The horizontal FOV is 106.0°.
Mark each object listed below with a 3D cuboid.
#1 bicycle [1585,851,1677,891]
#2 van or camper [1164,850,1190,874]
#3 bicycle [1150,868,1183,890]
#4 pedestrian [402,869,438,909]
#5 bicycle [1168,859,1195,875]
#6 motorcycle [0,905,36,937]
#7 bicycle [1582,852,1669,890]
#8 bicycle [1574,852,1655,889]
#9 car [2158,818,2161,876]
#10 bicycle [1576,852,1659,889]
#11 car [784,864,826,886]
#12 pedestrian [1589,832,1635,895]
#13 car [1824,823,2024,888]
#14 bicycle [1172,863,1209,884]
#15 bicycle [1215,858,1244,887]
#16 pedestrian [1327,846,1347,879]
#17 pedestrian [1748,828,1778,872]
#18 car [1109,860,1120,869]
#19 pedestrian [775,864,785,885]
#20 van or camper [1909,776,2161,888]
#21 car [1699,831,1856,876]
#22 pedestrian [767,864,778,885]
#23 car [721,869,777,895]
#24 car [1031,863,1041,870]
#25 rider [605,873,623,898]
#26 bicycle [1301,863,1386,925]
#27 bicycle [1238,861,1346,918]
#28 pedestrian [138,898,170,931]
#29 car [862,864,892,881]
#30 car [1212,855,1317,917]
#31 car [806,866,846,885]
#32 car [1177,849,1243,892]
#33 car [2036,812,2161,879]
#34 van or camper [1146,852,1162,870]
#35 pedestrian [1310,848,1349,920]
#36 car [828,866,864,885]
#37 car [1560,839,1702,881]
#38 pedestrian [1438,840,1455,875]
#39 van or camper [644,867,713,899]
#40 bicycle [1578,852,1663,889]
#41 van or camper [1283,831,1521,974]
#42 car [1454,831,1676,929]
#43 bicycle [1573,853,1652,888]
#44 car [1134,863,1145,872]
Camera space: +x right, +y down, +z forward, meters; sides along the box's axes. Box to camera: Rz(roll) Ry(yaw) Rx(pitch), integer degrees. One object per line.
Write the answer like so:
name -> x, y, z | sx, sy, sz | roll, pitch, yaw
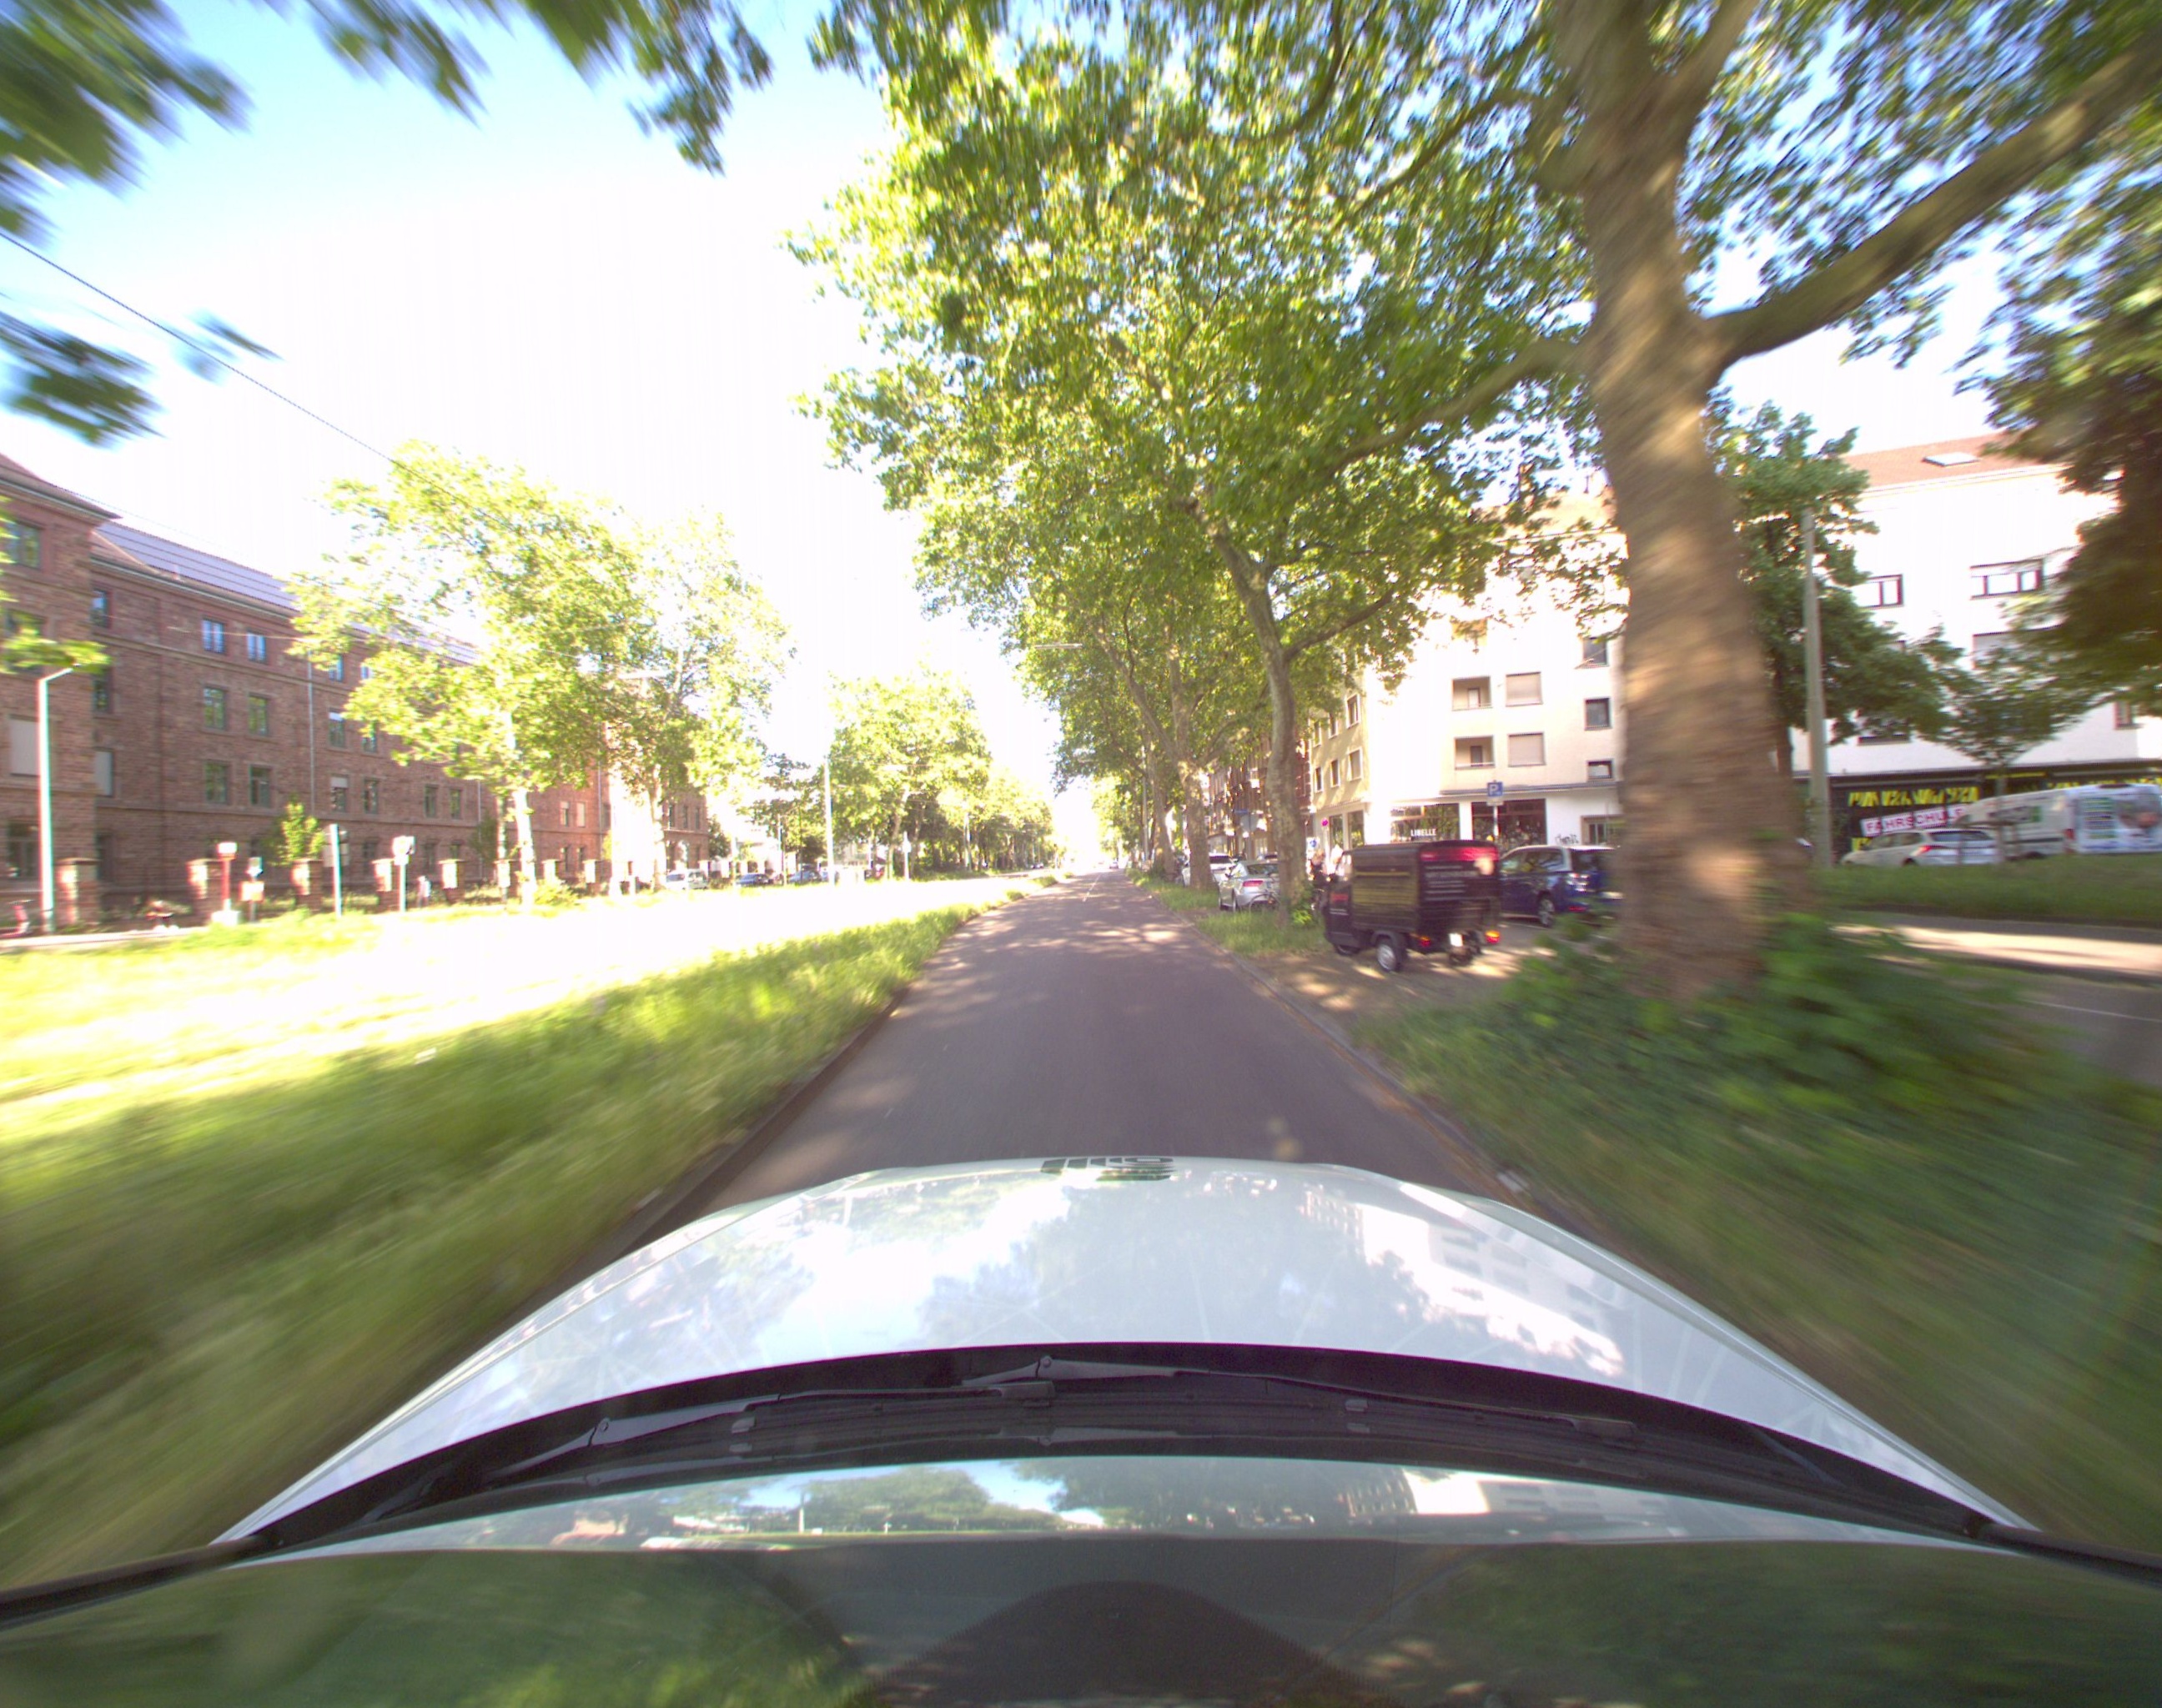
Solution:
bicycle -> 16.159, 0.506, 23.977 | 2.169, 1.103, 0.511 | -2, -1, 26
van or camper -> 8.695, 0.745, 74.211 | 1.827, 2.098, 4.774 | 1, -1, 0
bicycle -> 4.303, 1.238, 40.828 | 1.584, 1.058, 0.405 | -2, -1, 8
pedestrian -> -31.894, 1.672, 39.330 | 0.897, 1.899, 0.942 | -2, 0, 3
bicycle -> 8.433, 1.104, 68.236 | 2.156, 1.294, 0.983 | -1, -1, 2
motorcycle -> -33.067, 2.069, 25.128 | 0.333, 0.946, 1.044 | -2, -1, -2
bicycle -> 16.390, 0.517, 24.574 | 2.119, 1.103, 0.511 | -2, -1, 26
bicycle -> 17.174, 0.537, 26.262 | 2.119, 1.103, 0.511 | -2, -1, 26
car -> 31.436, -0.222, 20.980 | 1.978, 1.669, 4.766 | -2, -1, 16
bicycle -> 16.923, 0.534, 25.755 | 2.119, 1.103, 0.511 | -2, -1, 26
car -> -24.052, 1.784, 71.127 | 1.759, 1.719, 4.427 | -2, 0, 6
pedestrian -> 14.364, 0.246, 22.047 | 0.675, 1.651, 0.907 | -2, -1, 9
car -> 23.588, 0.051, 23.066 | 1.978, 1.628, 4.409 | -2, -1, 16
bicycle -> 5.165, 0.924, 38.337 | 1.773, 0.928, 0.646 | -1, -1, -40
bicycle -> 5.154, 0.629, 28.330 | 0.636, 0.925, 2.165 | -2, -1, 2
pedestrian -> 13.659, 0.433, 43.438 | 0.792, 1.704, 0.724 | -2, -1, 2
pedestrian -> 28.908, -0.172, 34.527 | 0.716, 1.809, 0.692 | -2, -1, 16
car -> 6.284, 2.014, 154.829 | 2.014, 1.662, 4.001 | -2, -1, 1
pedestrian -> -29.512, 1.973, 79.859 | 0.712, 2.014, 0.626 | -2, -1, 2
van or camper -> 26.029, -0.520, 22.383 | 2.130, 2.636, 5.613 | -2, -1, 17
car -> 27.906, 0.000, 32.820 | 4.347, 1.644, 2.009 | -2, 0, 17
pedestrian -> -30.282, 2.013, 79.881 | 0.712, 2.014, 0.626 | -2, -1, 2
car -> -24.570, 2.056, 60.473 | 1.986, 1.649, 4.830 | -2, 0, 2
car -> -10.765, 3.039, 194.333 | 1.788, 1.508, 4.341 | -4, -1, 3
rider -> -31.579, 2.135, 55.096 | 0.725, 1.644, 0.686 | -2, -1, 2
bicycle -> 4.908, 0.722, 15.353 | 0.757, 1.078, 1.882 | -1, -1, -8
bicycle -> 4.399, 0.735, 17.063 | 2.063, 1.124, 0.677 | -2, -1, 0
pedestrian -> -33.256, 2.165, 29.226 | 0.443, 1.100, 0.587 | -2, 0, -3
car -> -23.359, 2.117, 93.406 | 2.102, 1.809, 4.738 | -2, 0, 1
car -> 4.630, 0.758, 21.277 | 1.747, 1.398, 5.028 | -1, -1, 2
car -> -23.931, 1.988, 76.619 | 1.983, 1.615, 4.427 | -2, 0, 6
car -> 5.324, 0.656, 34.179 | 1.897, 1.636, 4.822 | -2, 0, -1
car -> 28.460, -0.240, 21.452 | 1.978, 1.669, 4.766 | -2, -1, 16
van or camper -> 10.023, 0.983, 111.893 | 2.174, 2.480, 6.275 | 0, -1, 5
pedestrian -> 5.712, 0.686, 18.766 | 0.685, 1.611, 0.713 | 1, 0, 2
car -> -23.643, 2.132, 82.191 | 2.101, 1.809, 4.739 | -2, 0, 1
car -> 23.092, 0.265, 34.402 | 4.550, 1.581, 2.009 | -2, 0, 17
pedestrian -> 17.780, 0.178, 39.624 | 0.587, 1.650, 0.727 | -2, -1, 13
van or camper -> -24.727, 1.751, 50.235 | 1.987, 1.788, 4.431 | -2, -1, 0
bicycle -> 16.677, 0.522, 25.239 | 2.119, 1.103, 0.511 | -2, -1, 26
van or camper -> 4.059, 0.560, 10.738 | 1.503, 1.588, 2.825 | -1, -1, -15
car -> 10.049, 0.507, 17.514 | 1.812, 1.742, 5.169 | -2, -1, 2
bicycle -> 17.414, 0.552, 26.732 | 2.119, 1.103, 0.475 | -2, -1, 26
car -> 9.999, 2.322, 139.600 | 1.678, 1.514, 3.666 | -1, -1, 0
